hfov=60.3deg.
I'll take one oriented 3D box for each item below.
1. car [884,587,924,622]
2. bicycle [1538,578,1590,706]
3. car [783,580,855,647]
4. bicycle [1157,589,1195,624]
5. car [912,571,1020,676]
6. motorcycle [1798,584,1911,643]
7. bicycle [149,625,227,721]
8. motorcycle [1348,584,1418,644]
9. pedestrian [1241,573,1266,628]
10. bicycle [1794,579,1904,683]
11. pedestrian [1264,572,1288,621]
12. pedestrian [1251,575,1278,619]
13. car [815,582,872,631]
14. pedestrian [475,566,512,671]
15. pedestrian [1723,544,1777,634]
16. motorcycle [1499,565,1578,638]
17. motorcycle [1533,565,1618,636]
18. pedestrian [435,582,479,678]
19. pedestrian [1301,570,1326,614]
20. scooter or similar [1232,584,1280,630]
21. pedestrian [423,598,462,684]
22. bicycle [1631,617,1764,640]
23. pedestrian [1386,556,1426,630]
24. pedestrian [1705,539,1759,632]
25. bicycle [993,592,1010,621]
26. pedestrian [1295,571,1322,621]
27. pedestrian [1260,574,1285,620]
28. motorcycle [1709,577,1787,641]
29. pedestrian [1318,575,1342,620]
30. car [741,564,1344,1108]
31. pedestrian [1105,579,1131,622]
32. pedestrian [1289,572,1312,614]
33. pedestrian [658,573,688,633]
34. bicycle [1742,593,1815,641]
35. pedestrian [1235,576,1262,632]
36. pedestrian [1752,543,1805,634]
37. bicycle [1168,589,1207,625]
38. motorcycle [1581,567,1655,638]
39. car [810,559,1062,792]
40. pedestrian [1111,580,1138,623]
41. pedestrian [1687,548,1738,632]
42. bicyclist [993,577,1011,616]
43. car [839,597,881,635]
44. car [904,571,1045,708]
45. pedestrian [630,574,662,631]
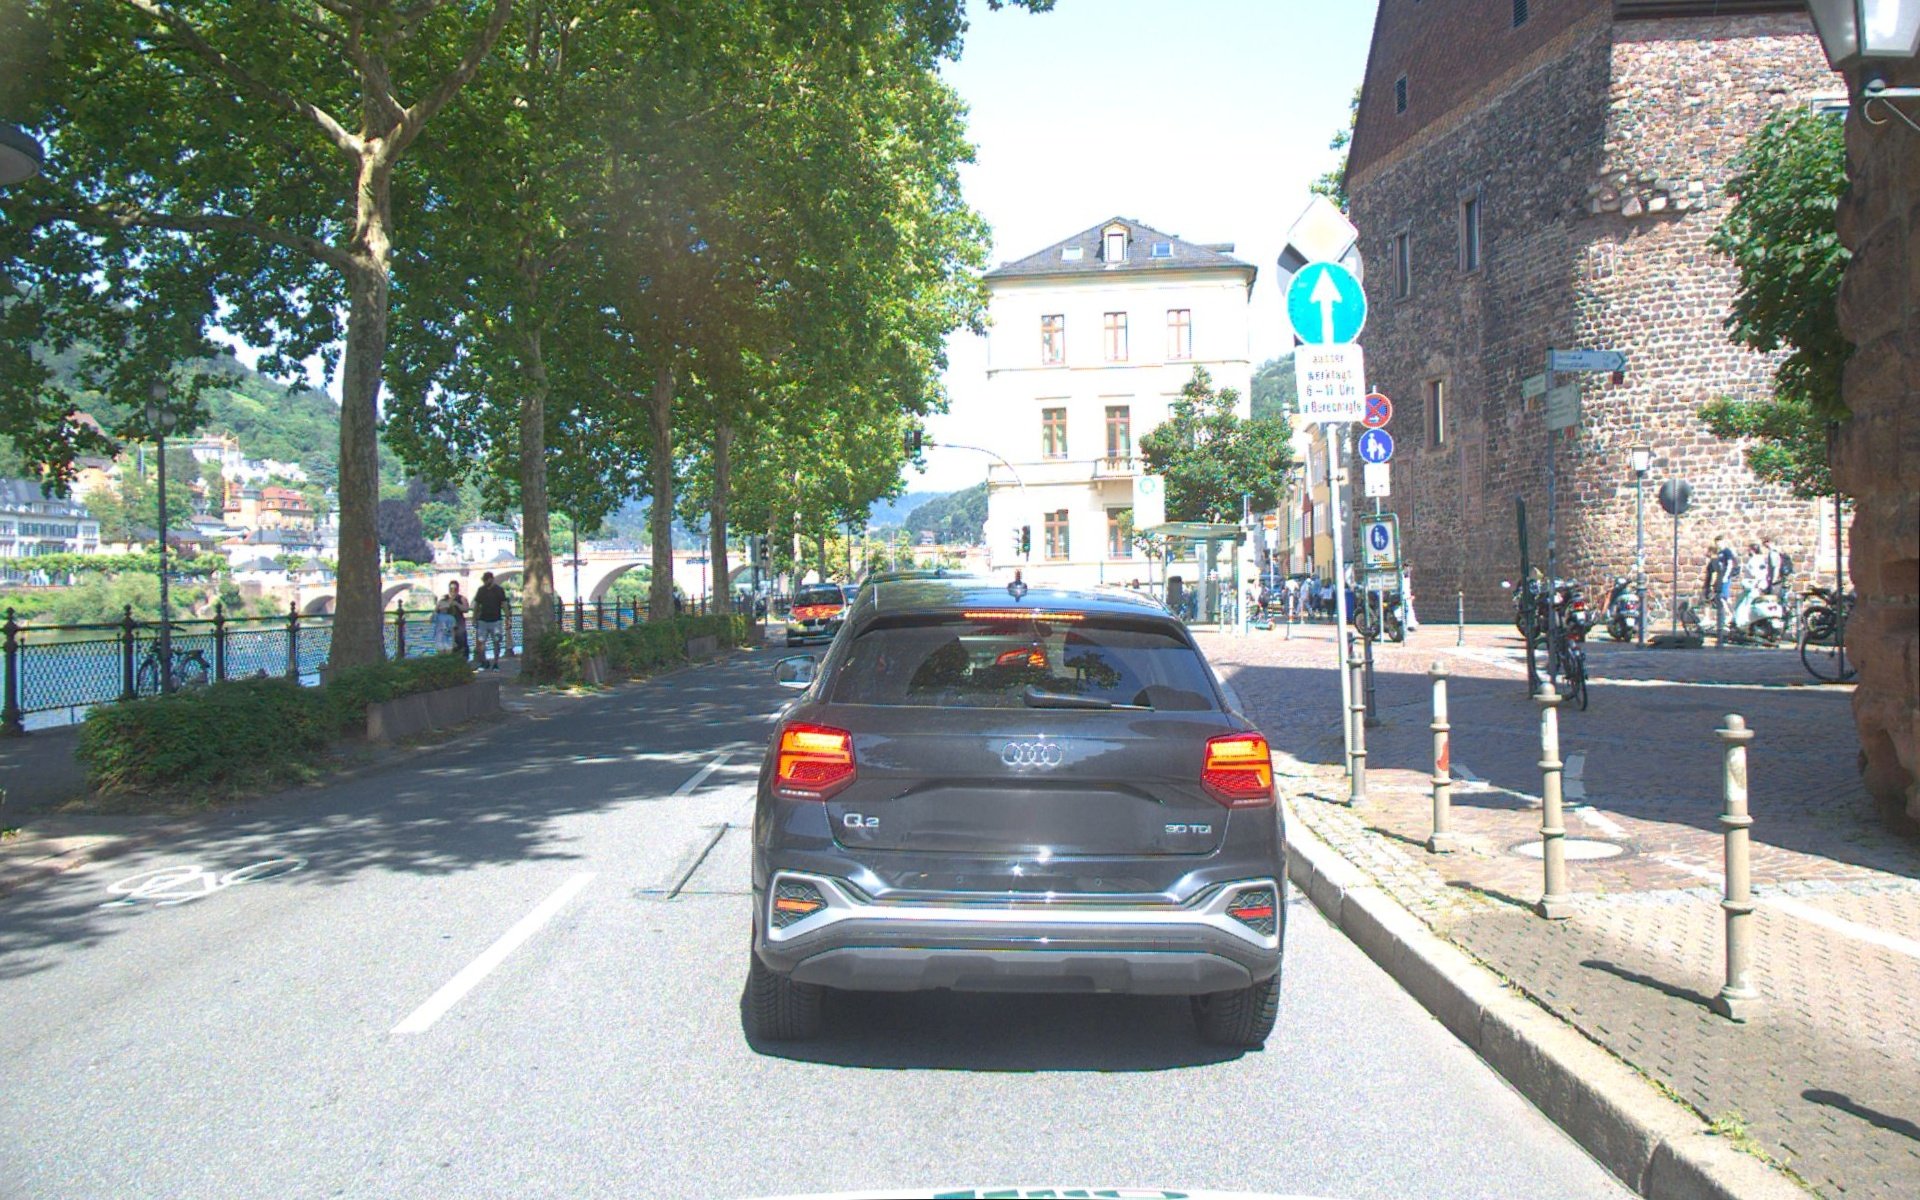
[{"bbox_3d":[-3.030,0.260,90.401,1.952,1.838,4.000,1,0,1],"label":"car"},{"bbox_3d":[6.144,0.399,16.874,0.189,1.225,1.771,0,1,10],"label":"bicycle"},{"bbox_3d":[-3.894,0.333,46.176,1.639,1.689,4.222,-3,0,-1],"label":"car"},{"bbox_3d":[6.499,0.197,49.677,1.166,1.033,0.178,1,-1,-20],"label":"bicycle"},{"bbox_3d":[0.071,0.369,29.141,1.758,1.711,3.999,1,0,-1],"label":"car"},{"bbox_3d":[16.915,0.248,31.289,1.826,1.072,0.480,1,-1,7],"label":"motorcycle"},{"bbox_3d":[-9.534,0.882,20.458,0.352,1.110,1.295,2,0,-2],"label":"bicycle"},{"bbox_3d":[7.696,0.232,30.201,0.555,1.030,2.489,-1,1,-2],"label":"motorcycle"},{"bbox_3d":[7.573,0.014,42.689,0.546,1.409,0.588,1,-1,1],"label":"pedestrian"},{"bbox_3d":[10.604,0.345,19.783,0.437,1.182,1.731,-1,1,3],"label":"bicycle"},{"bbox_3d":[13.134,-0.143,68.746,0.822,2.049,0.738,1,-1,-1],"label":"pedestrian"},{"bbox_3d":[10.339,-0.110,56.209,0.626,1.469,0.797,-2,0,-7],"label":"pedestrian"},{"bbox_3d":[-4.306,0.214,61.701,1.732,1.689,4.000,-3,0,1],"label":"car"},{"bbox_3d":[-8.639,0.342,30.648,0.523,1.920,0.436,2,0,-1],"label":"pedestrian"},{"bbox_3d":[16.976,-0.230,35.544,0.661,1.917,0.813,1,-1,-28],"label":"pedestrian"},{"bbox_3d":[10.528,0.036,30.191,0.642,1.288,2.199,0,0,-1],"label":"motorcycle"},{"bbox_3d":[11.347,0.017,30.564,0.661,1.257,2.312,1,0,-1],"label":"motorcycle"},{"bbox_3d":[-9.123,0.535,29.999,0.589,1.715,0.583,-1,0,-2],"label":"pedestrian"},{"bbox_3d":[13.525,-0.316,63.275,0.760,1.649,0.645,-2,0,1],"label":"pedestrian"},{"bbox_3d":[7.067,0.171,39.494,1.067,1.084,0.323,1,-1,-3],"label":"scooter or similar"},{"bbox_3d":[-8.417,0.666,26.908,0.469,1.386,0.417,0,0,3],"label":"pedestrian"},{"bbox_3d":[12.316,0.473,27.683,1.887,0.388,0.918,0,-1,14],"label":"bicycle"},{"bbox_3d":[10.349,-0.166,38.355,0.791,1.691,0.656,-1,0,22],"label":"pedestrian"},{"bbox_3d":[17.378,-0.316,37.226,0.725,2.049,0.866,1,-1,-39],"label":"pedestrian"},{"bbox_3d":[1.560,0.249,62.640,0.428,1.105,1.675,1,0,-5],"label":"bicycle"},{"bbox_3d":[14.401,-0.178,68.386,0.920,2.049,0.807,1,-1,1],"label":"pedestrian"},{"bbox_3d":[14.019,-0.137,74.217,0.925,2.049,0.807,1,-1,-1],"label":"pedestrian"},{"bbox_3d":[14.042,0.160,29.522,0.496,1.092,1.840,1,0,-1],"label":"motorcycle"},{"bbox_3d":[13.791,-0.091,61.591,0.677,1.640,0.891,-2,0,22],"label":"pedestrian"},{"bbox_3d":[0.213,0.660,6.571,1.707,1.535,3.646,1,1,-1],"label":"car"},{"bbox_3d":[4.678,0.009,48.987,0.651,1.253,0.640,1,-1,-7],"label":"pedestrian"},{"bbox_3d":[13.215,-0.285,64.162,0.760,1.591,0.646,-2,0,4],"label":"pedestrian"},{"bbox_3d":[-9.903,0.102,57.095,0.891,2.049,0.586,1,-1,3],"label":"pedestrian"},{"bbox_3d":[15.129,0.294,30.614,0.346,0.835,1.926,1,1,-2],"label":"bicycle"},{"bbox_3d":[9.984,0.123,57.239,0.732,1.923,0.751,0,0,25],"label":"pedestrian"},{"bbox_3d":[17.742,-0.240,35.861,0.662,1.954,0.811,1,-1,-34],"label":"pedestrian"},{"bbox_3d":[6.743,0.201,49.050,1.184,1.053,0.178,1,-1,-20],"label":"bicycle"},{"bbox_3d":[12.189,0.052,30.688,0.535,1.257,2.030,1,0,-1],"label":"motorcycle"},{"bbox_3d":[-0.194,0.523,13.438,1.756,1.623,3.398,1,0,-1],"label":"car"},{"bbox_3d":[4.805,0.033,48.250,0.651,1.233,0.640,1,-1,-7],"label":"pedestrian"},{"bbox_3d":[16.660,-0.217,36.609,0.646,1.834,0.836,0,0,-35],"label":"pedestrian"},{"bbox_3d":[1.574,-0.130,62.559,0.593,1.475,0.590,1,-1,-6],"label":"bicyclist"},{"bbox_3d":[-4.807,0.752,80.054,1.703,1.599,4.091,-4,1,-1],"label":"car"},{"bbox_3d":[0.149,0.457,21.595,1.676,1.637,3.654,0,0,-1],"label":"car"},{"bbox_3d":[-10.401,0.090,54.778,0.891,1.843,0.586,1,-3,3],"label":"pedestrian"}]
